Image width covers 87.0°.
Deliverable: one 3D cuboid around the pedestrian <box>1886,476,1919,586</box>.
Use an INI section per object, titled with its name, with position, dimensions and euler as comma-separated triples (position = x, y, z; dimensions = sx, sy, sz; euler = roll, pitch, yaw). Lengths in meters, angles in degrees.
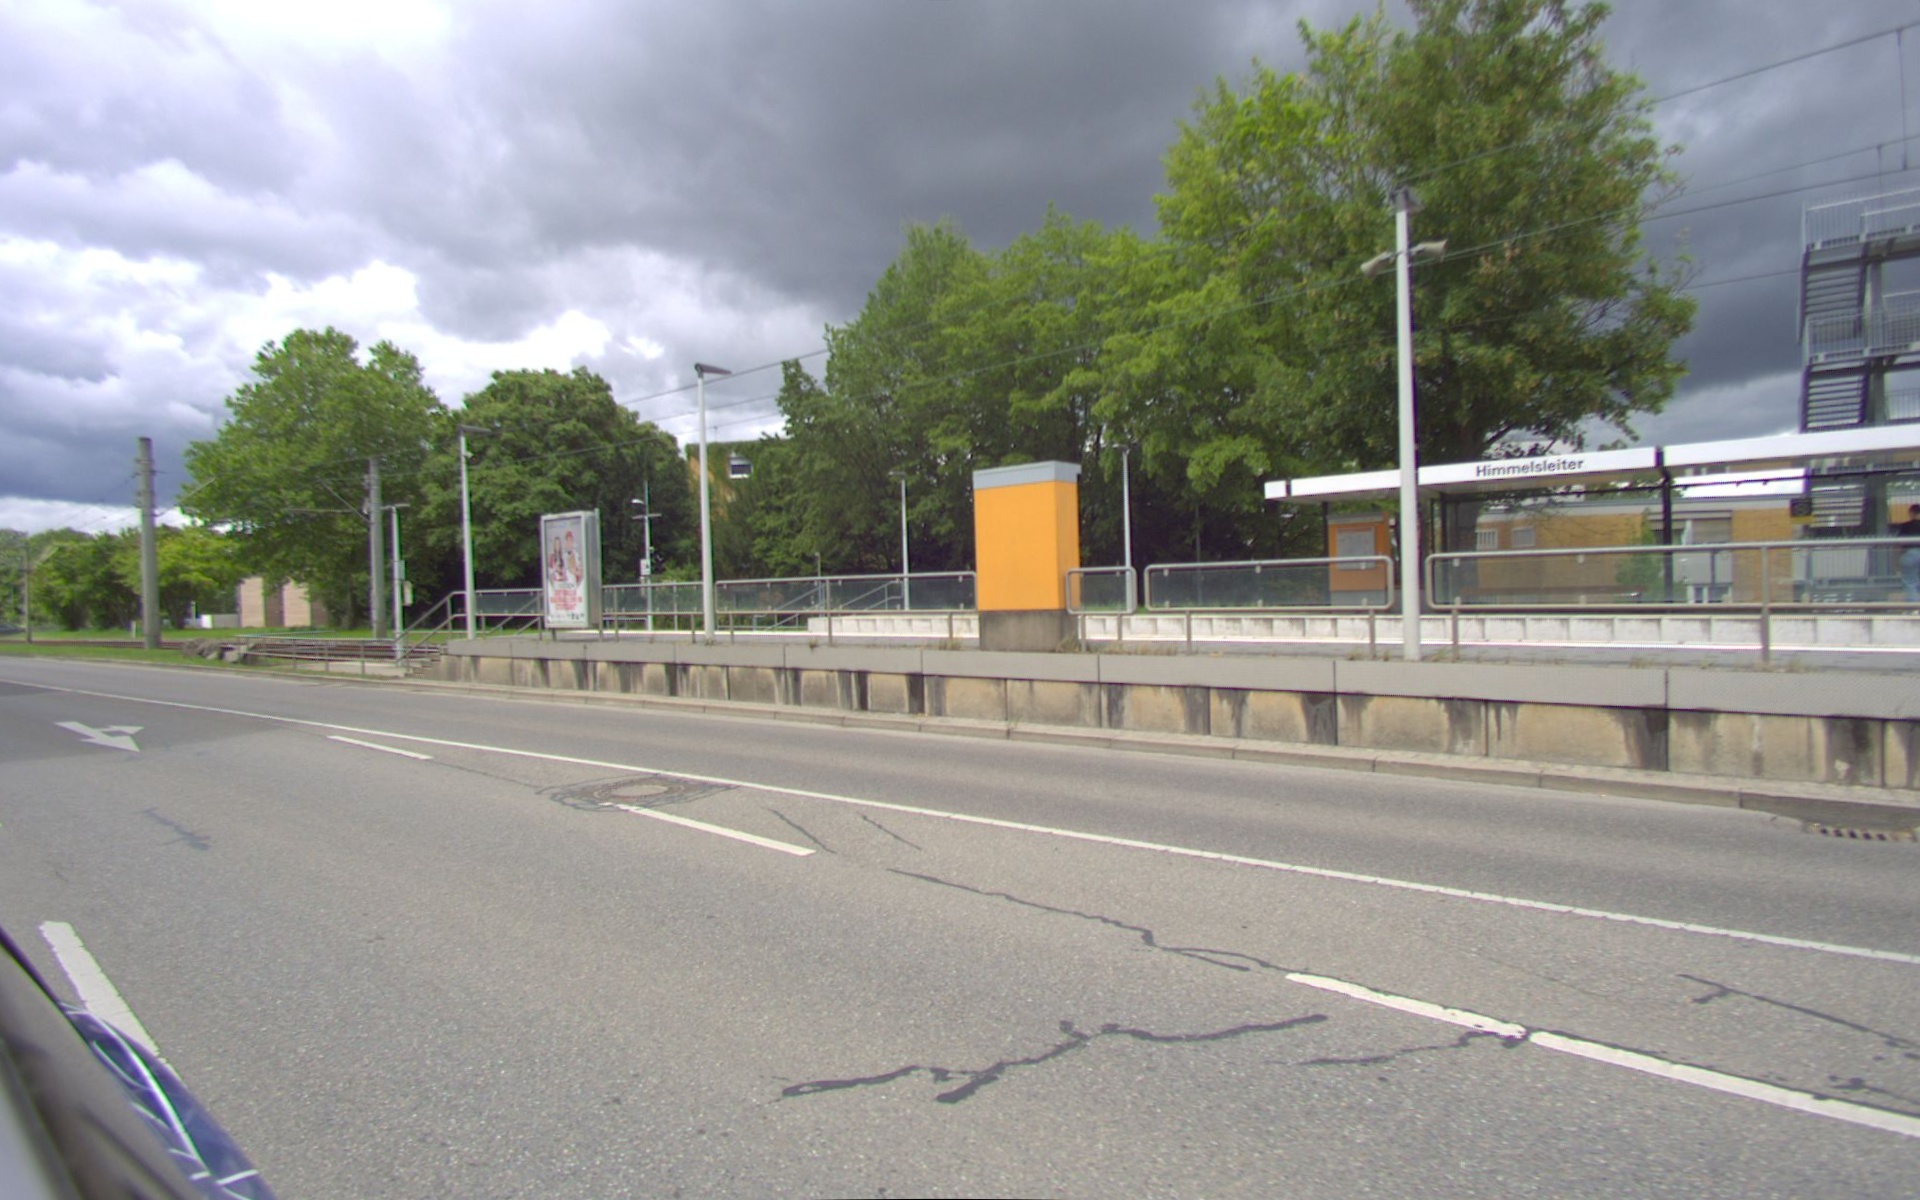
[pedestrian]
position = 13.759, -0.981, 14.602
dimensions = 0.547, 1.542, 0.733
euler = -1, 0, 41
